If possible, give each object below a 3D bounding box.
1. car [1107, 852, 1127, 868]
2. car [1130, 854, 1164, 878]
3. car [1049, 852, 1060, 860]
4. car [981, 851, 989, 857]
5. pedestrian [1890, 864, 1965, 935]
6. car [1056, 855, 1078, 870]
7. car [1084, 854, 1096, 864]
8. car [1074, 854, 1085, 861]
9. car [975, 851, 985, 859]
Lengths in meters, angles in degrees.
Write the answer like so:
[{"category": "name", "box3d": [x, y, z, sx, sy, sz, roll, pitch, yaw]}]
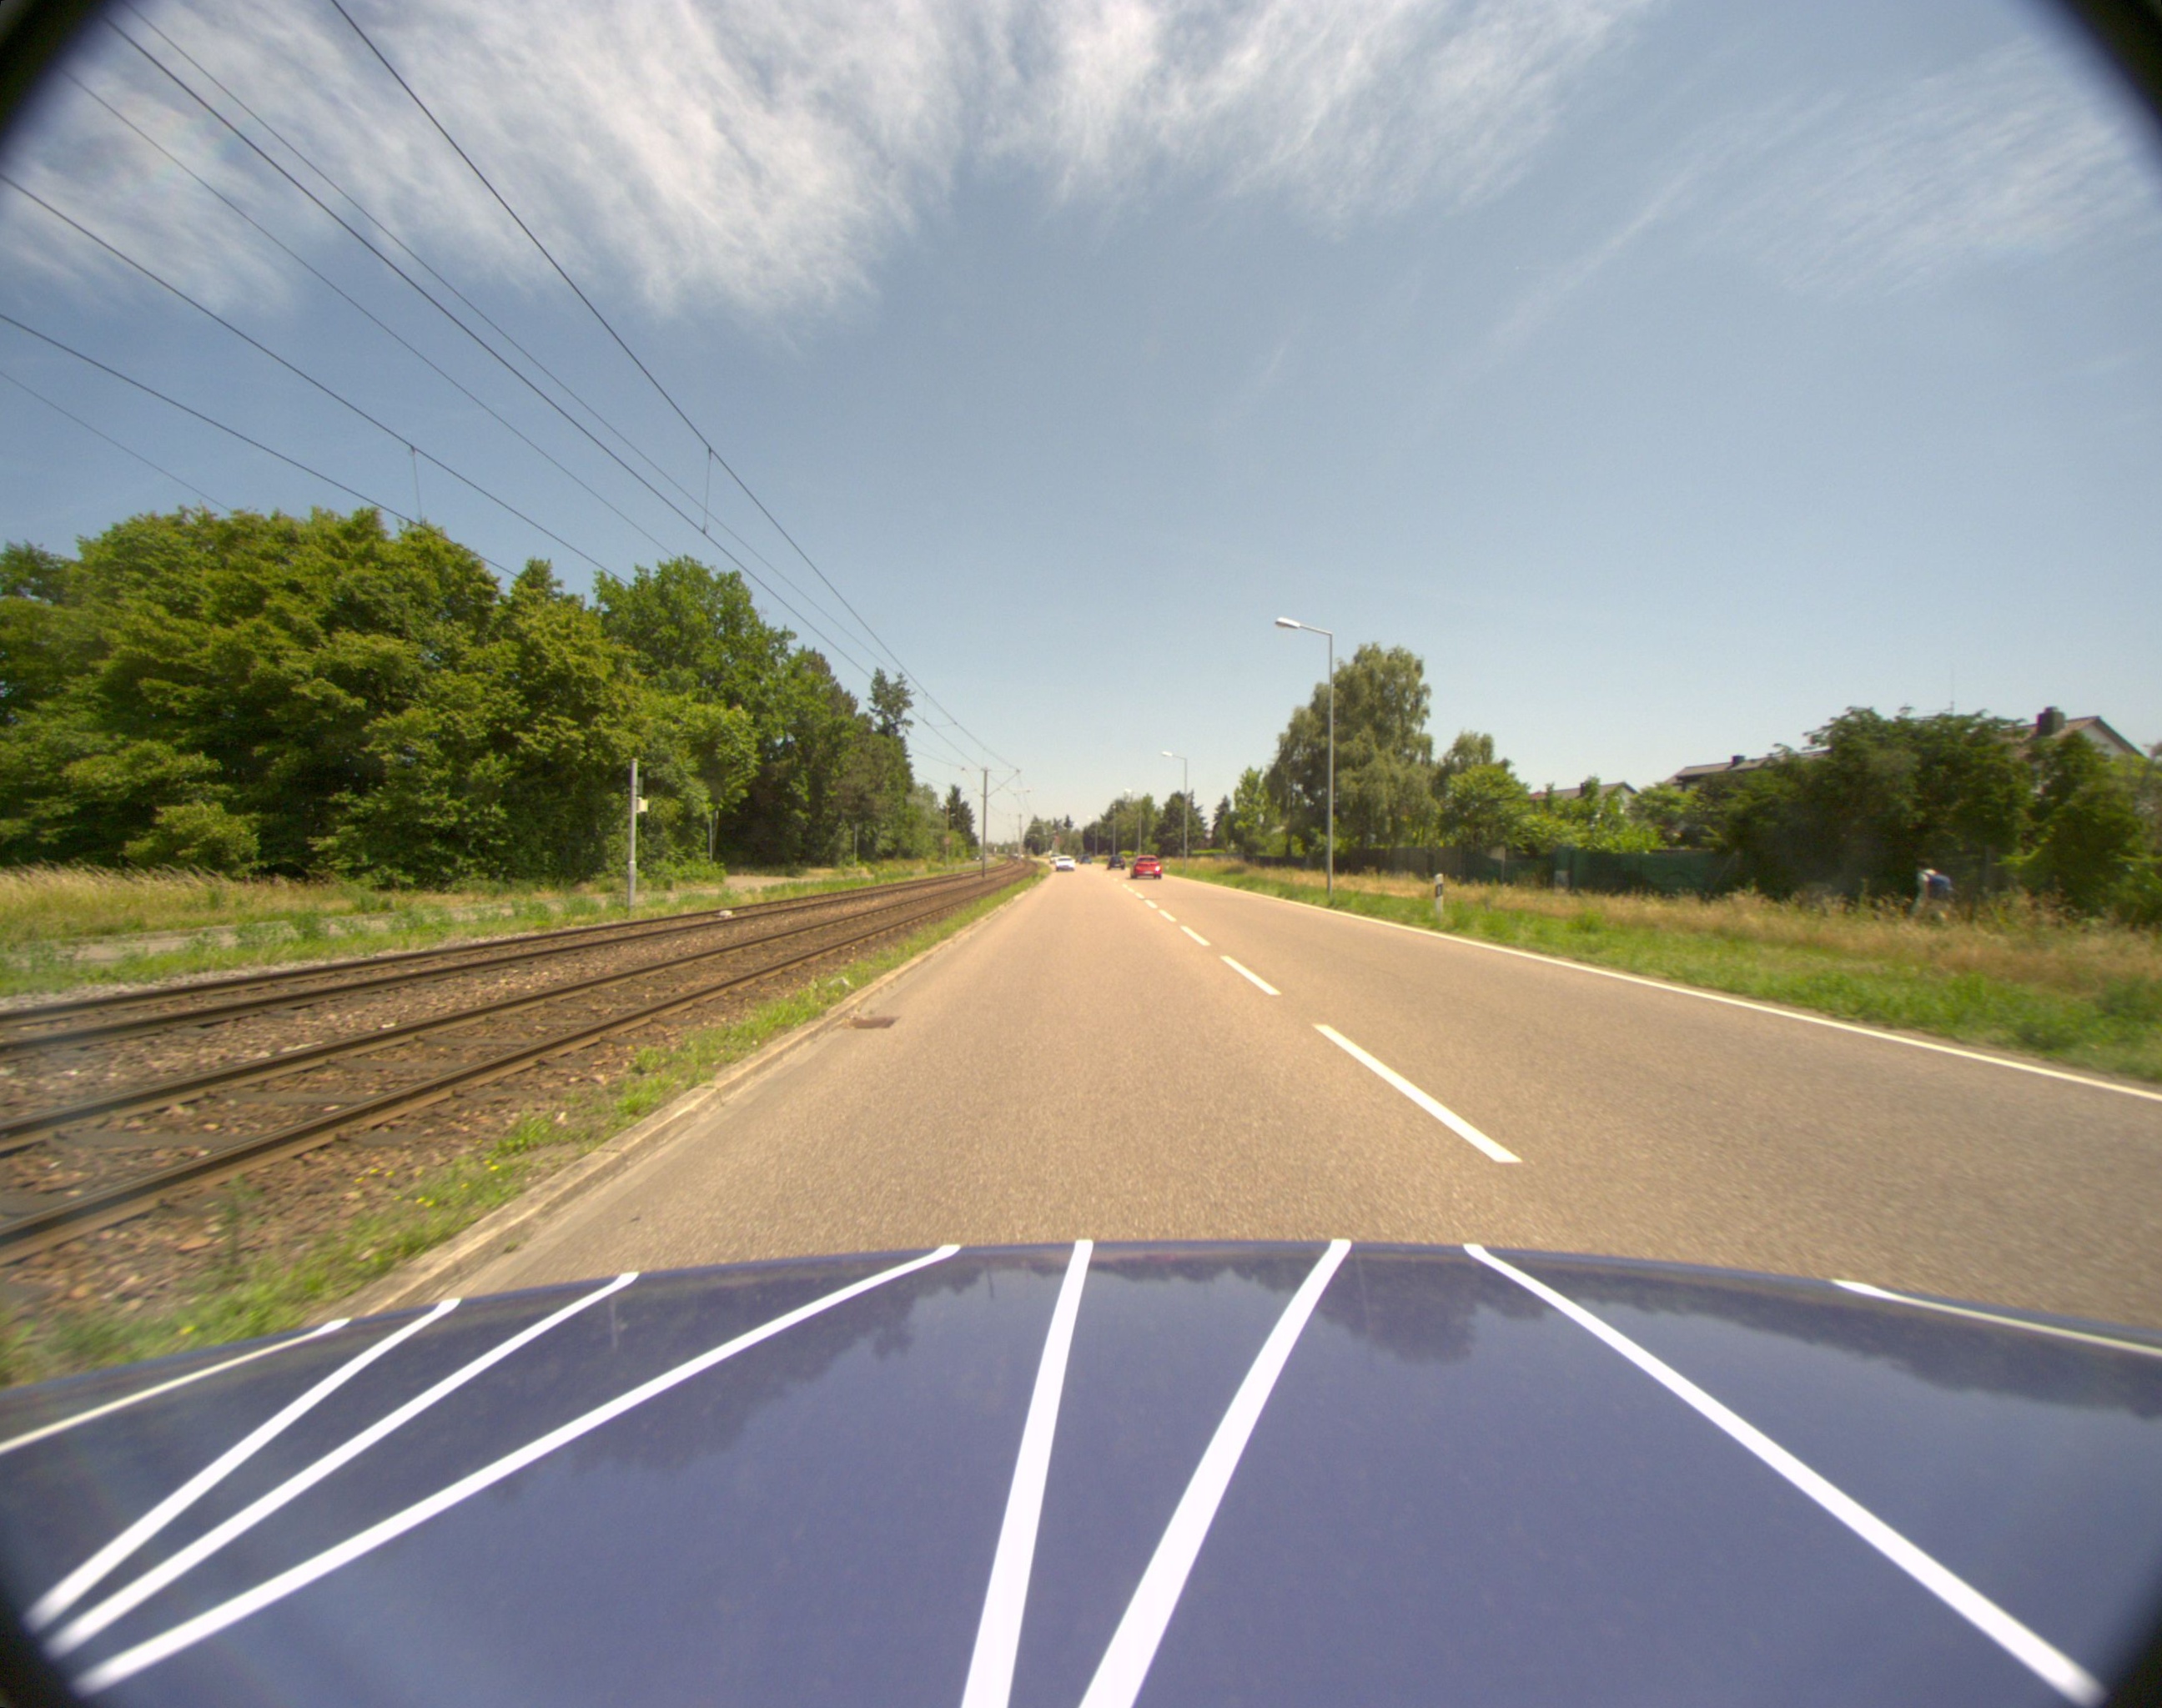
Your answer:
[{"category": "car", "box3d": [3.629, 0.580, 77.144, 1.689, 1.560, 3.966, 0, 0, -2]}, {"category": "car", "box3d": [4.065, 0.713, 47.574, 1.684, 1.391, 3.999, 0, 0, -2]}, {"category": "car", "box3d": [-4.813, 0.338, 138.713, 1.892, 1.456, 3.998, 0, 0, -4]}, {"category": "car", "box3d": [-25.898, -0.015, 205.656, 1.947, 1.685, 3.997, -2, 1, -6]}, {"category": "pedestrian", "box3d": [16.775, 0.882, 15.081, 0.582, 1.347, 0.798, 0, 1, -1]}, {"category": "car", "box3d": [-1.415, 0.818, 75.594, 1.955, 1.467, 4.360, 0, 0, -3]}, {"category": "car", "box3d": [1.474, 0.803, 124.087, 1.820, 1.496, 3.999, 0, 0, -2]}, {"category": "car", "box3d": [-0.315, 0.666, 143.011, 1.762, 1.414, 4.322, 0, 0, -2]}, {"category": "car", "box3d": [-22.980, 0.133, 172.997, 1.999, 1.710, 3.998, -2, 1, -2]}]
